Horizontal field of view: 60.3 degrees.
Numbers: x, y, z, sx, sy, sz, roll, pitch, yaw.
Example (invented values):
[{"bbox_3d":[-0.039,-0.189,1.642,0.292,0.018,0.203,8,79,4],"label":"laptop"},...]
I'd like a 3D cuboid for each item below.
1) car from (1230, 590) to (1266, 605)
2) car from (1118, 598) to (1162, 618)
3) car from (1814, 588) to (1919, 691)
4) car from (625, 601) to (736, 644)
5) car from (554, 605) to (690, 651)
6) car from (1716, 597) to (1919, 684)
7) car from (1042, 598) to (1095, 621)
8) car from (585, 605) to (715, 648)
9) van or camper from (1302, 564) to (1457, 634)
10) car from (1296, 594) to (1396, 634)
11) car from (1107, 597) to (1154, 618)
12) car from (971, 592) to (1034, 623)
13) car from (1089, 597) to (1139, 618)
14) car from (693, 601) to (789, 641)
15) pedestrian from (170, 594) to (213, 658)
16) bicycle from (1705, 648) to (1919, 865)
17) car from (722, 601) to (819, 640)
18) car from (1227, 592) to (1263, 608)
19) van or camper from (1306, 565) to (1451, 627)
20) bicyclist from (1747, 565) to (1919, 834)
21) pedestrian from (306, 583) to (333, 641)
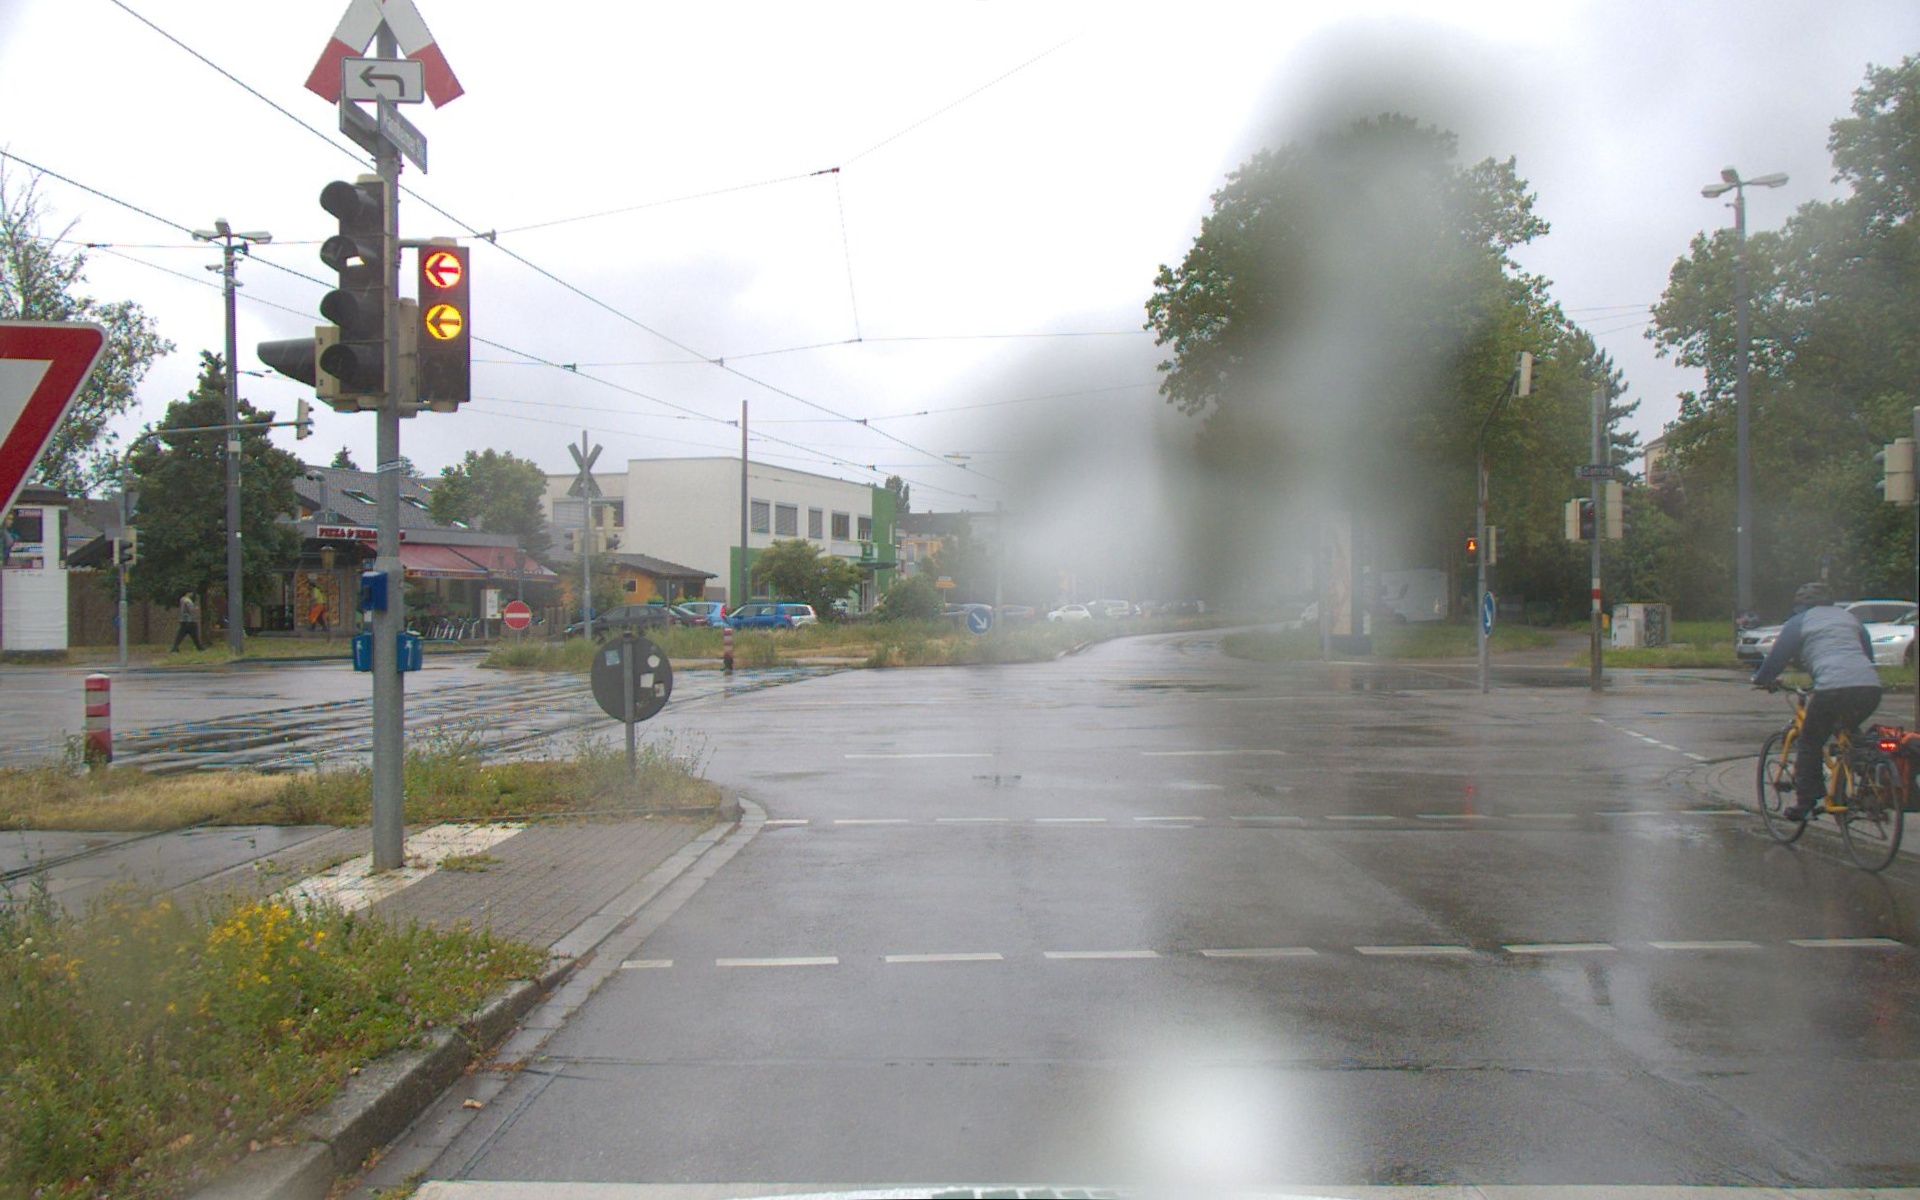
[{"bbox_3d":[35.486,-0.300,203.958,3.909,1.864,1.998,1,0,-5],"label":"car"},{"bbox_3d":[17.345,0.734,159.165,3.909,1.864,1.998,1,0,-5],"label":"car"},{"bbox_3d":[18.864,0.760,31.299,4.506,1.860,1.931,1,0,-7],"label":"car"},{"bbox_3d":[-10.890,0.872,64.599,3.903,1.609,1.859,0,0,4],"label":"car"},{"bbox_3d":[-11.983,0.991,58.785,4.385,1.443,1.858,-2,0,0],"label":"car"},{"bbox_3d":[18.410,0.836,34.664,4.309,1.721,1.931,1,0,-7],"label":"car"},{"bbox_3d":[8.280,0.712,126.751,3.706,1.732,1.832,1,0,-11],"label":"car"},{"bbox_3d":[-11.439,0.979,61.201,4.405,1.443,1.858,-2,0,0],"label":"car"},{"bbox_3d":[20.536,-0.047,80.852,7.168,3.234,3.264,1,0,17],"label":"van or camper"},{"bbox_3d":[18.164,0.655,77.863,4.352,1.747,2.000,1,0,21],"label":"car"},{"bbox_3d":[15.873,0.687,154.073,3.916,1.864,1.994,1,0,-12],"label":"car"},{"bbox_3d":[2.832,0.496,110.157,3.911,1.920,1.997,1,0,-7],"label":"car"},{"bbox_3d":[13.521,0.646,145.046,3.916,1.789,2.004,1,0,-12],"label":"car"},{"bbox_3d":[-9.234,0.873,69.583,3.916,1.609,1.924,0,0,-12],"label":"car"},{"bbox_3d":[-22.197,0.743,47.777,0.709,1.829,0.887,2,0,11],"label":"pedestrian"},{"bbox_3d":[5.253,0.876,9.870,0.677,1.136,1.884,1,-1,-3],"label":"bicycle"},{"bbox_3d":[-8.364,0.873,72.766,4.040,1.670,1.922,0,0,-15],"label":"car"},{"bbox_3d":[34.278,-0.036,199.204,3.909,1.864,1.998,1,0,-5],"label":"car"},{"bbox_3d":[22.791,-0.216,90.051,7.274,3.234,3.262,1,0,22],"label":"van or camper"},{"bbox_3d":[5.253,0.574,9.880,0.677,1.532,0.843,1,-1,-3],"label":"bicyclist"},{"bbox_3d":[-22.853,0.415,59.018,0.710,2.049,0.792,1,-1,-11],"label":"pedestrian"}]
